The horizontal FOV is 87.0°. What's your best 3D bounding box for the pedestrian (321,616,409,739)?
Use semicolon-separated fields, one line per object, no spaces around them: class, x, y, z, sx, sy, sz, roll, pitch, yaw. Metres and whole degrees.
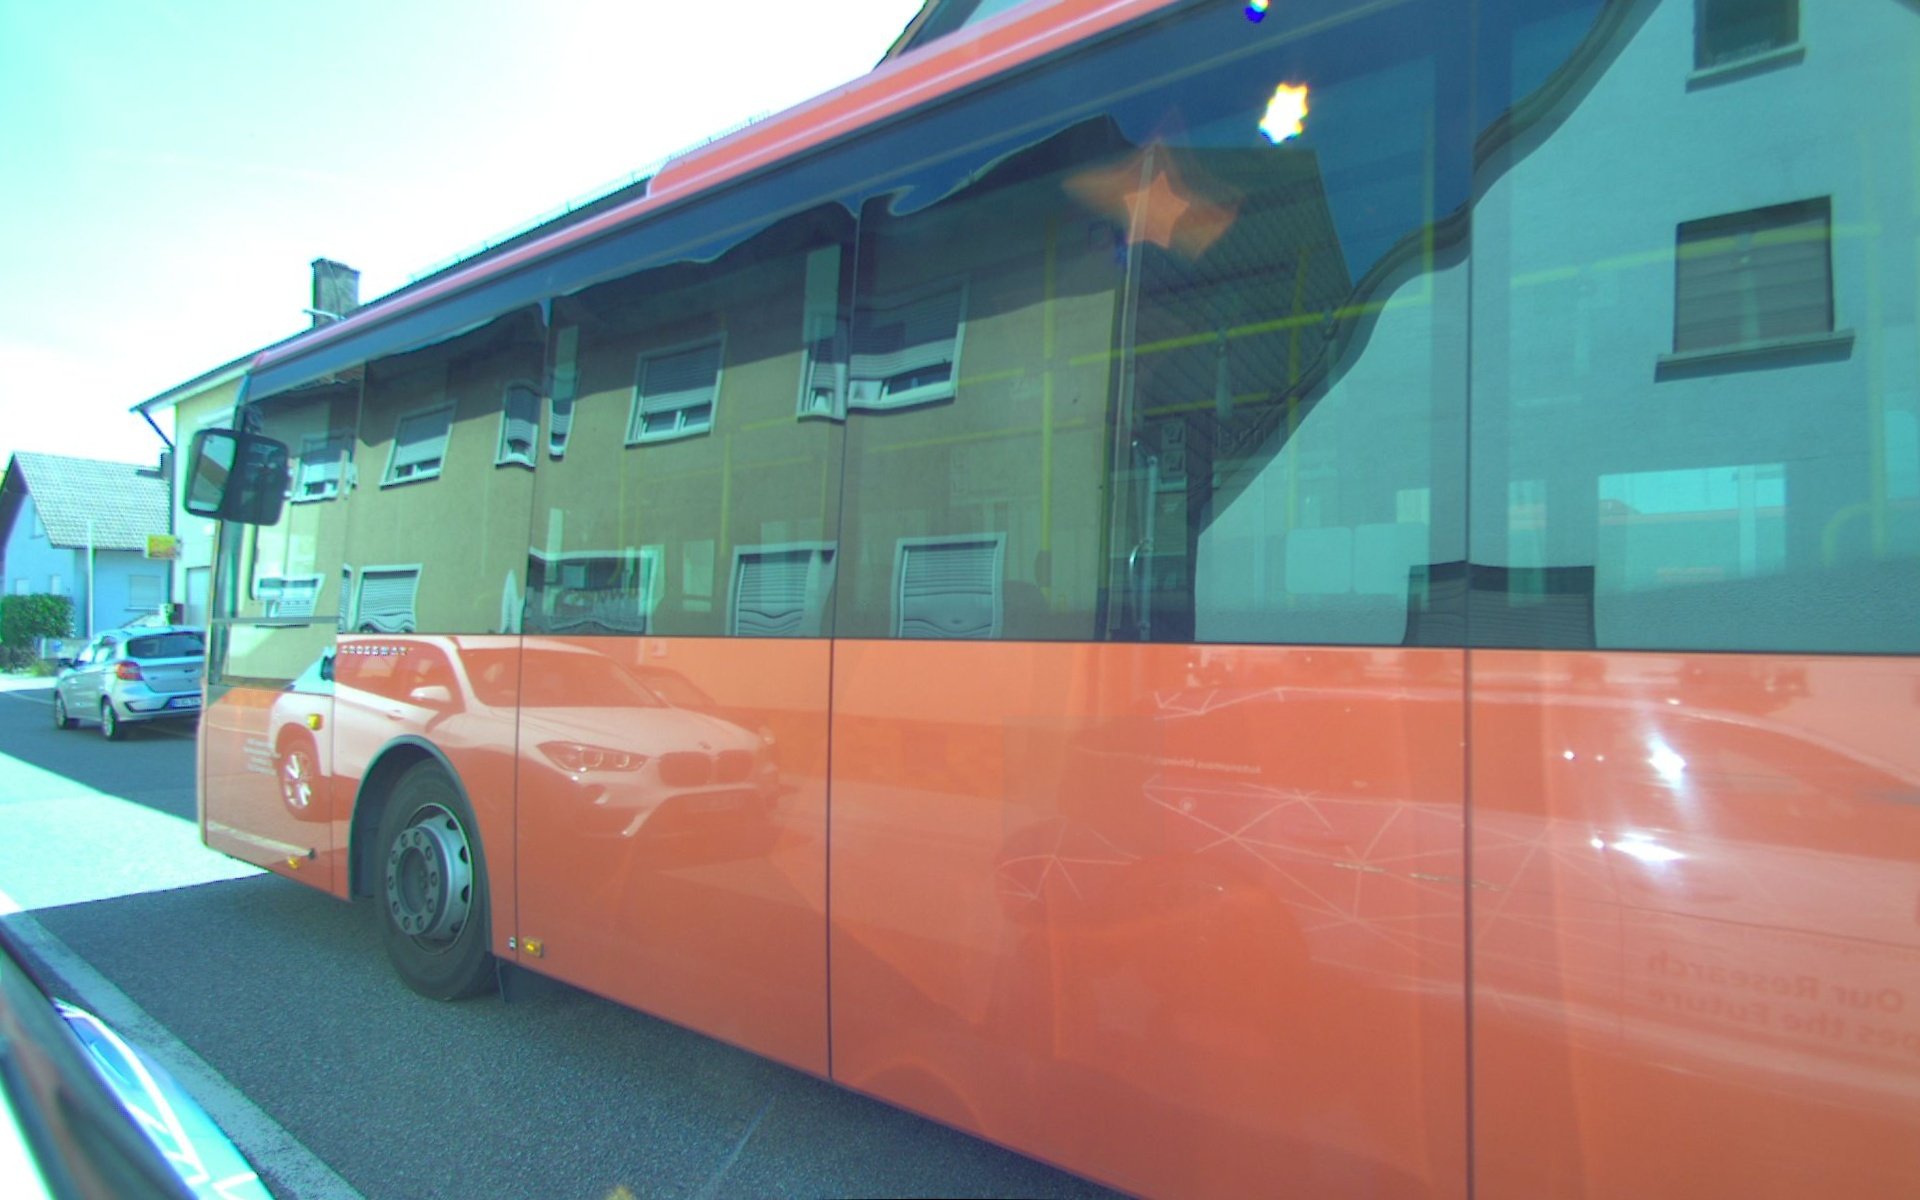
pedestrian;-8.169;1.029;13.895;0.956;1.595;0.748;-1;0;39

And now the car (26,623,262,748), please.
car;-12.220;1.155;15.093;3.992;1.527;1.729;-1;2;36

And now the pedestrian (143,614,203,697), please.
pedestrian;-15.877;1.093;20.421;0.956;1.595;0.748;-1;0;39

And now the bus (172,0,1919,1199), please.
bus;1.589;-0.104;2.688;12.001;3.257;2.602;-1;-4;37
